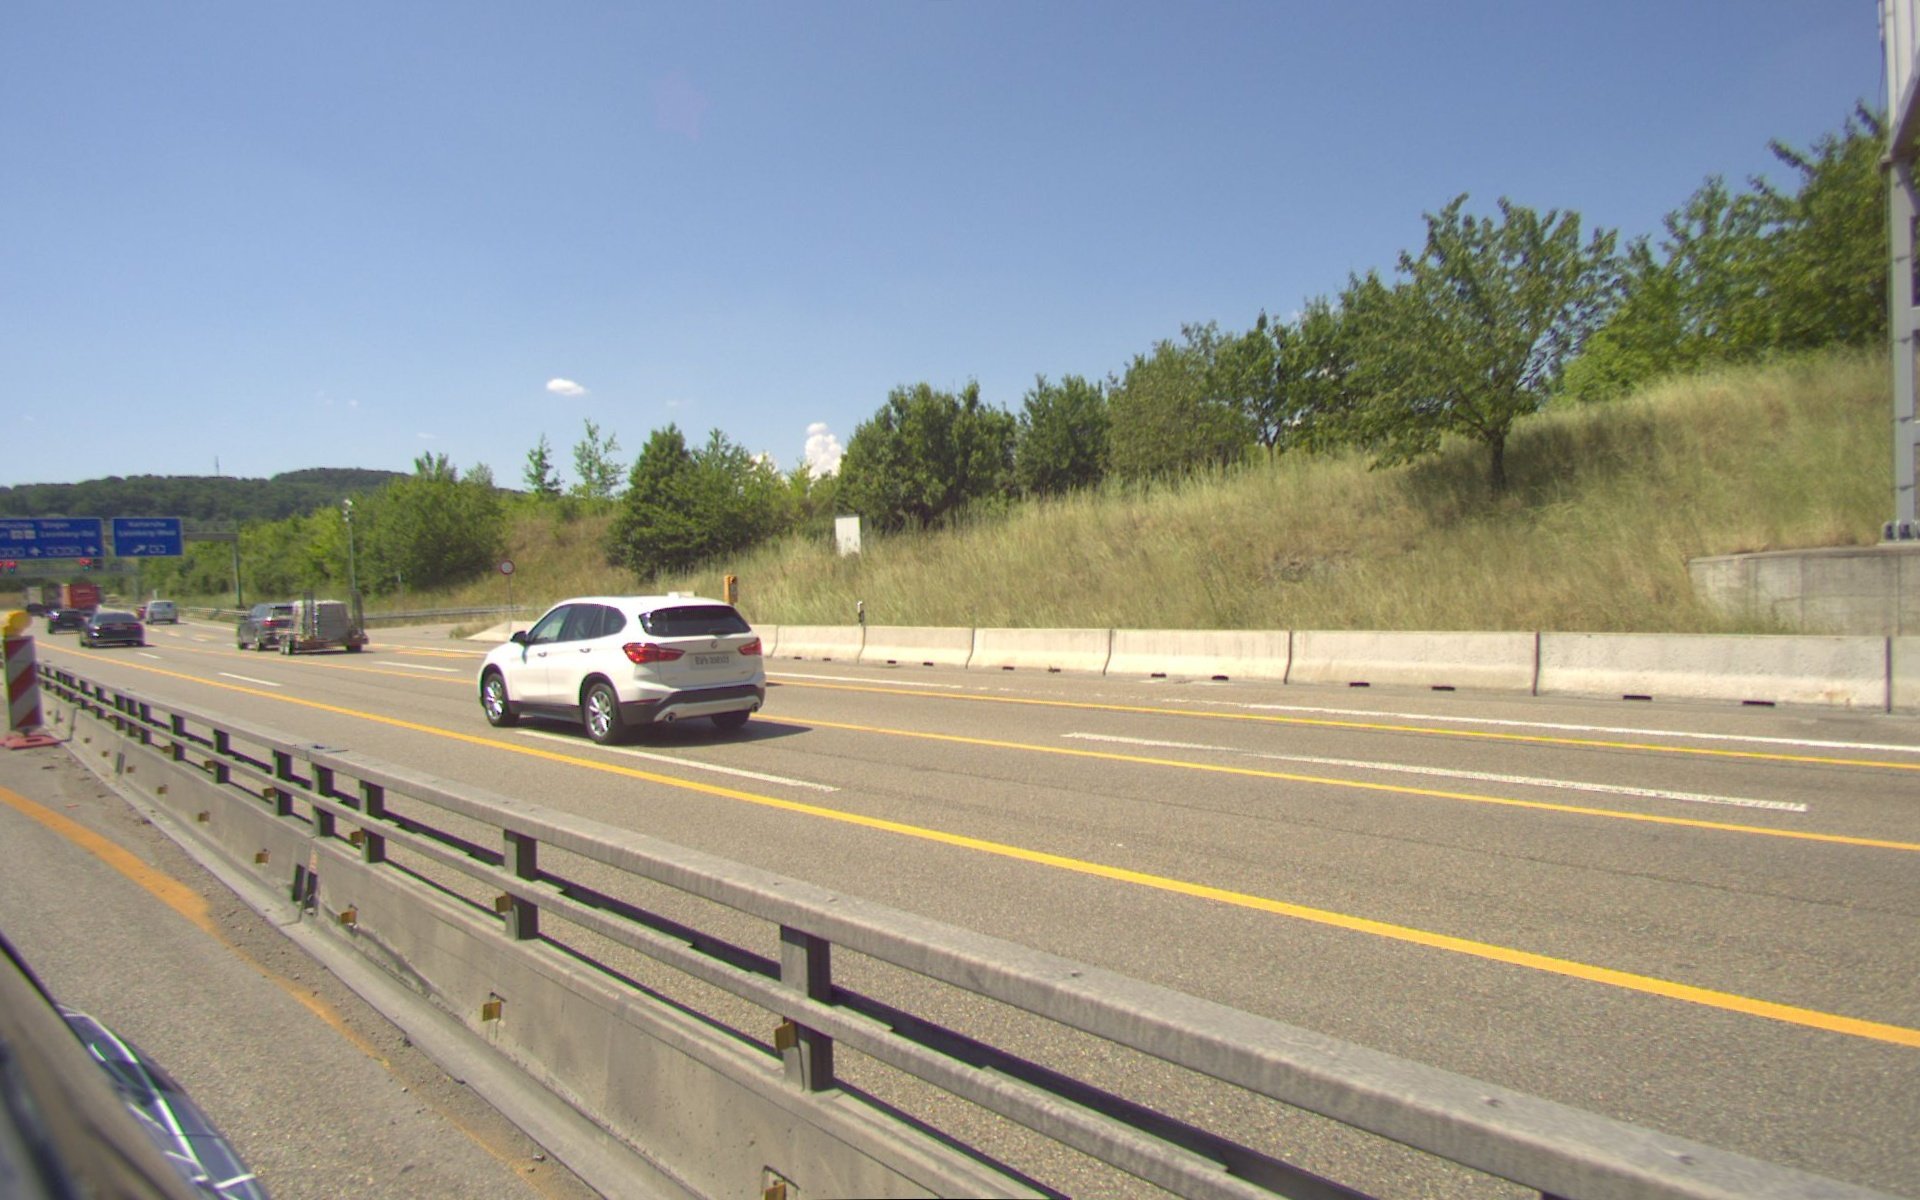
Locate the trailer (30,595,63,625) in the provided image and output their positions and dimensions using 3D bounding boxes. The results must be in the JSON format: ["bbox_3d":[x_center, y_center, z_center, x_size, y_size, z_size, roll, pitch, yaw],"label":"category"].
[{"bbox_3d":[-139.028,1.471,153.936,13.809,4.328,2.409,-1,2,43],"label":"trailer"}]

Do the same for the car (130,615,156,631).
[{"bbox_3d":[-78.439,2.201,97.134,1.667,1.405,4.004,0,0,-43],"label":"car"}]

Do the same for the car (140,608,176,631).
[{"bbox_3d":[-66.282,1.621,83.594,4.788,1.848,1.668,0,0,44],"label":"car"}]

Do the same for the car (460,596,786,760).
[{"bbox_3d":[-4.132,0.812,11.984,4.446,1.589,1.754,-2,-1,43],"label":"car"}]

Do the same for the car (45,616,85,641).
[{"bbox_3d":[-59.607,1.880,67.377,1.723,1.605,4.230,0,-1,-45],"label":"car"}]

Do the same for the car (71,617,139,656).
[{"bbox_3d":[-37.058,1.567,43.815,4.986,1.605,1.754,-2,-1,44],"label":"car"}]

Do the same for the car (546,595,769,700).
[{"bbox_3d":[-5.656,0.823,18.527,4.808,1.679,1.754,-2,-1,44],"label":"car"}]

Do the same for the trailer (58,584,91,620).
[{"bbox_3d":[-107.784,0.277,123.104,2.310,4.133,13.272,-3,1,-44],"label":"trailer"}]

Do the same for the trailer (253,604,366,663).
[{"bbox_3d":[-21.839,1.115,33.856,5.523,1.819,1.925,-2,-1,44],"label":"trailer"}]

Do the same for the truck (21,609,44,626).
[{"bbox_3d":[-113.487,2.157,123.834,1.970,1.887,4.765,-3,0,-44],"label":"truck"}]

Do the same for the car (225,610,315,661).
[{"bbox_3d":[-25.591,1.295,37.466,4.868,1.740,1.754,-2,-1,44],"label":"car"}]
